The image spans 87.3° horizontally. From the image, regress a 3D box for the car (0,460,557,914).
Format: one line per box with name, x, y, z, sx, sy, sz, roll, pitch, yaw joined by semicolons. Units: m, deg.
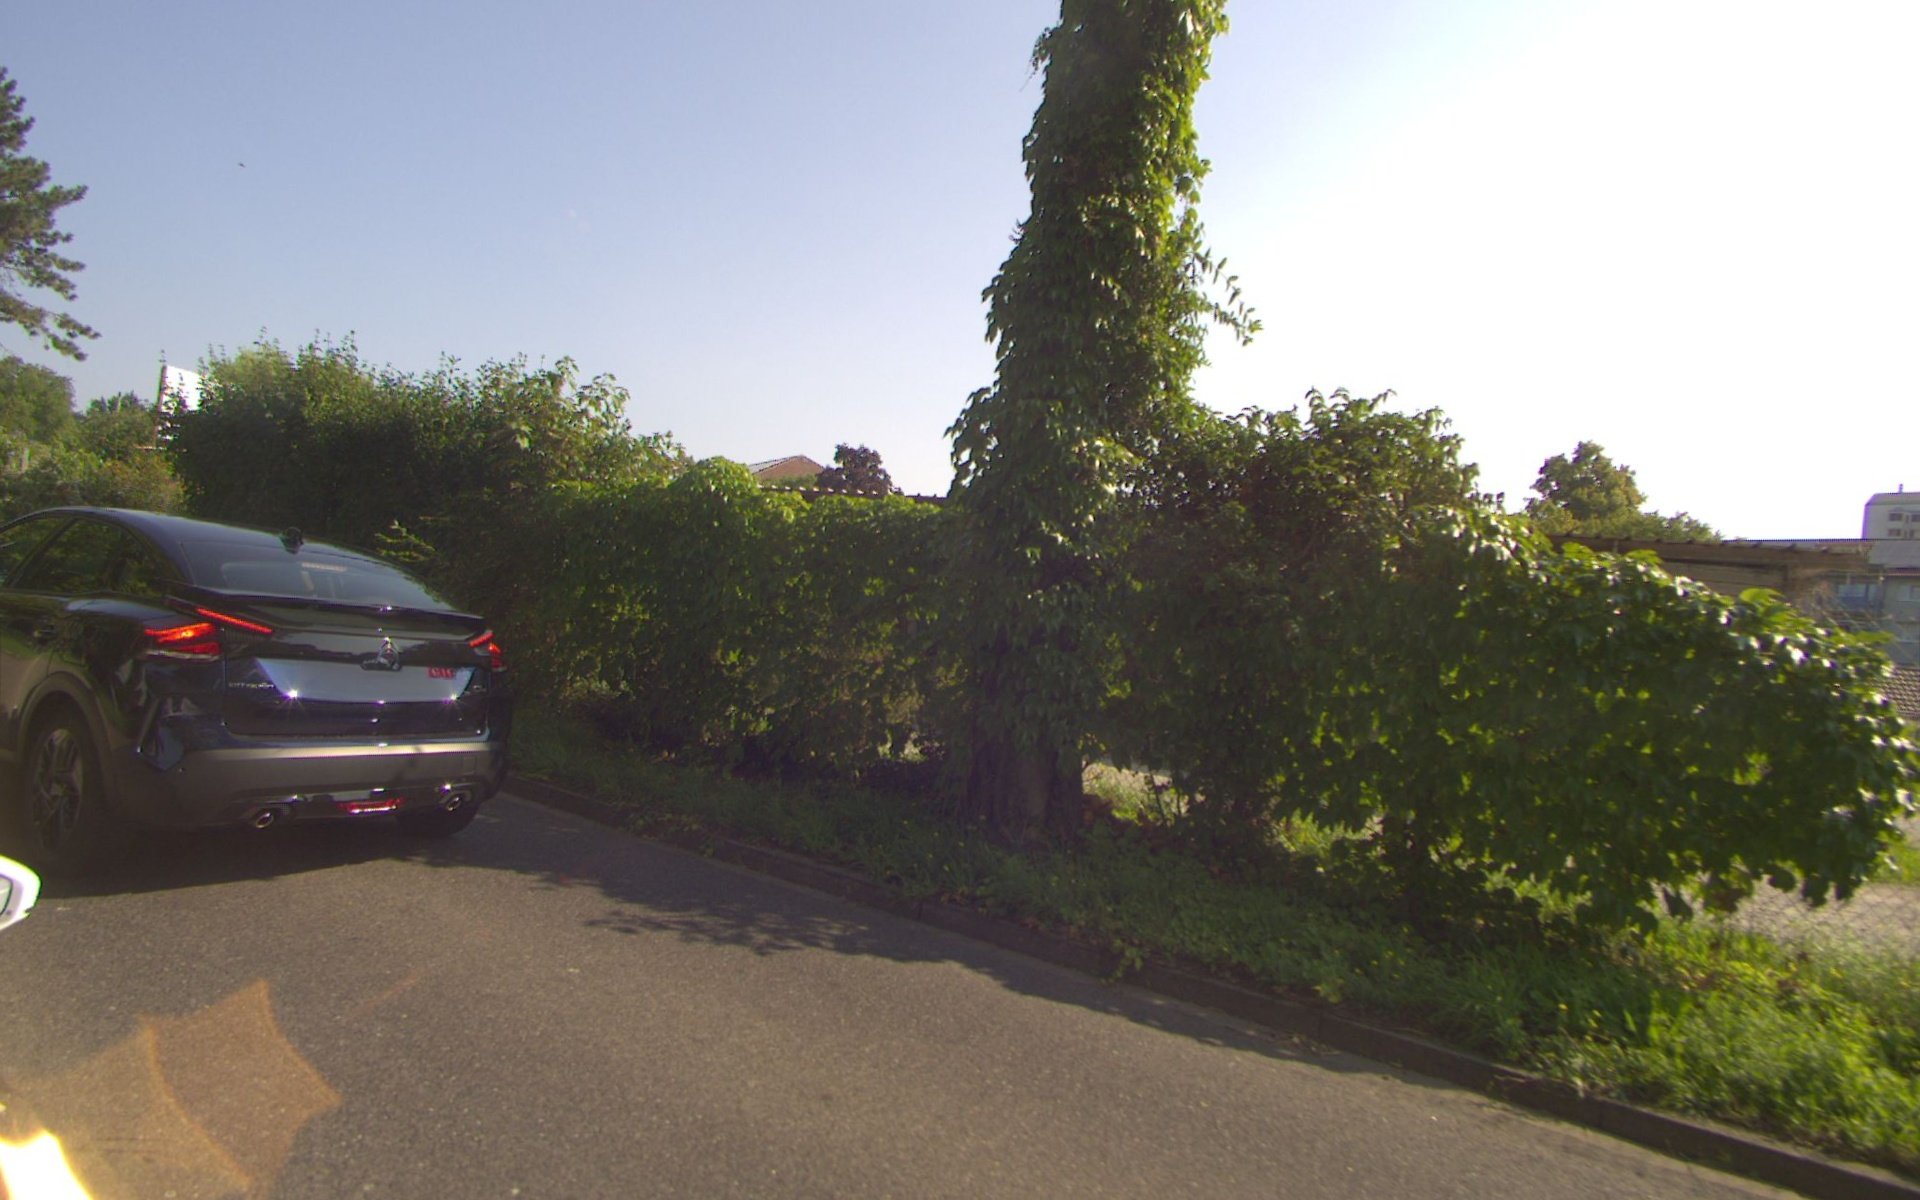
car;-4.324;0.207;5.402;4.183;1.607;1.648;6;-1;30
